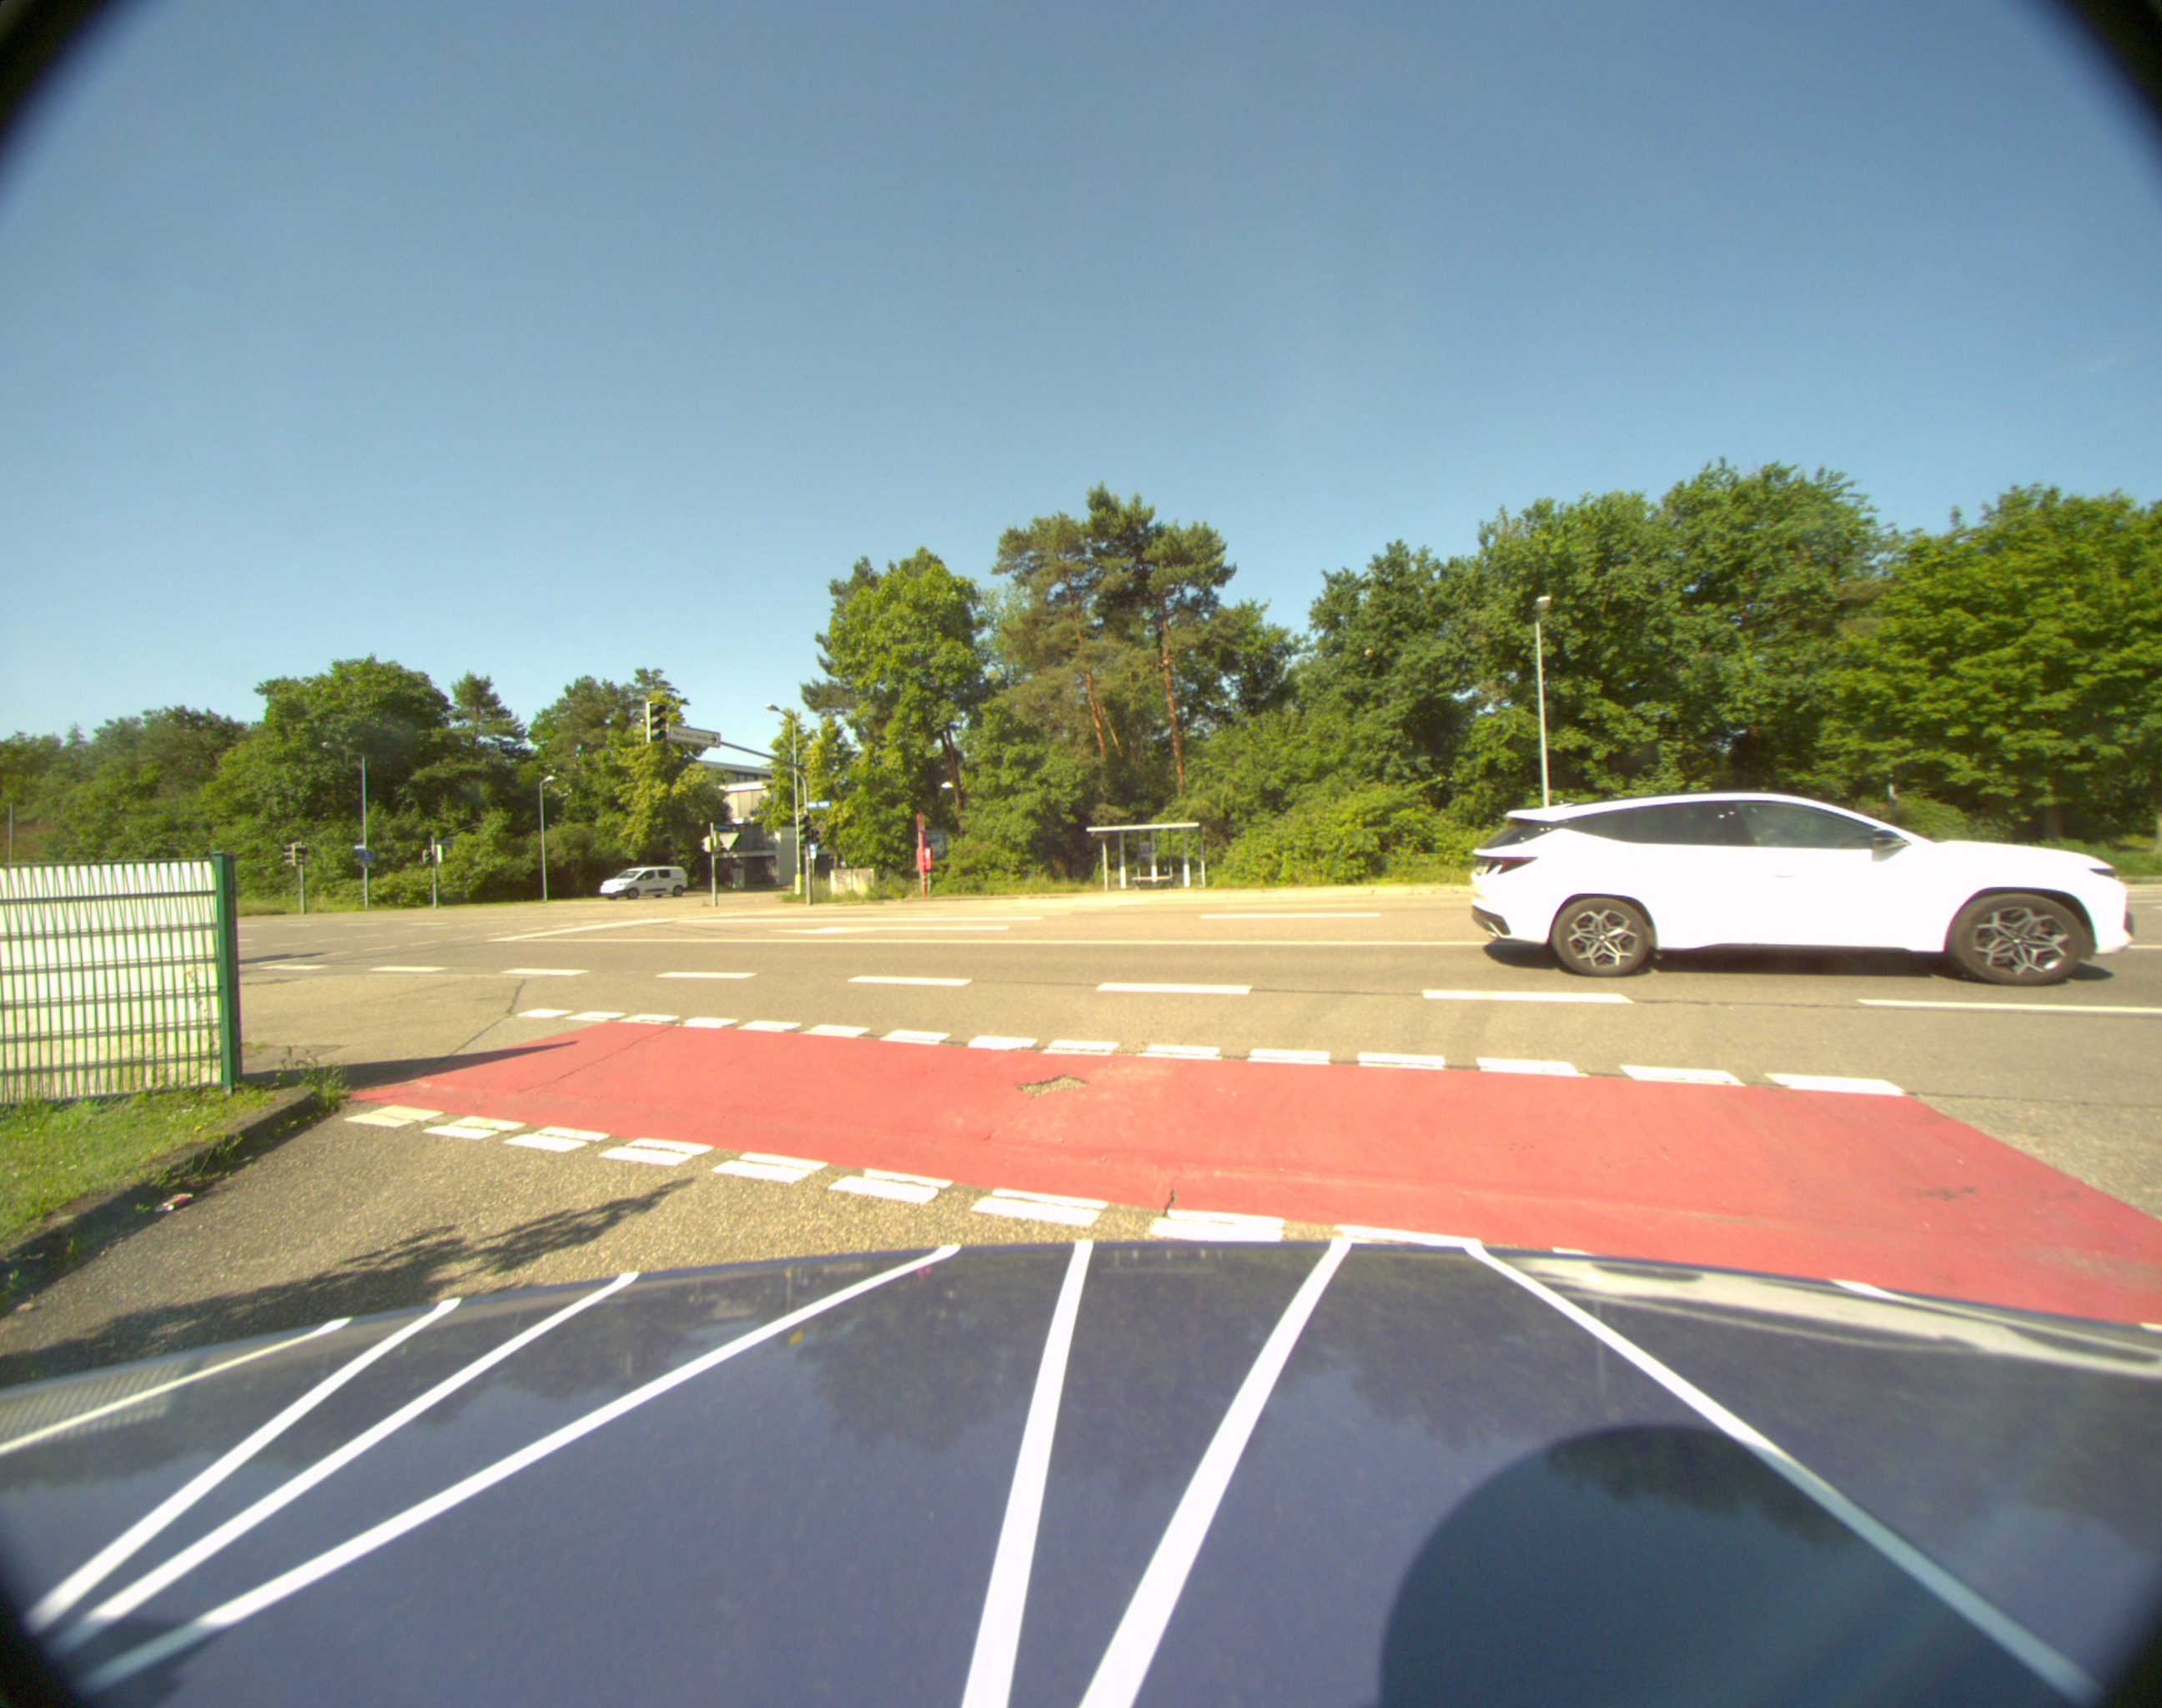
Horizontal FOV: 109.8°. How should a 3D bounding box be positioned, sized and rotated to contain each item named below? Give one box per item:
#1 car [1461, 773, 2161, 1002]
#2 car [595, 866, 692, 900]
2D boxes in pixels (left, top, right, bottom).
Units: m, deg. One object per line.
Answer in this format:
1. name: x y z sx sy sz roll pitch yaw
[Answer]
1. car: 6.023 0.280 7.015 4.298 1.639 1.816 -2 2 21
2. car: -25.028 1.605 43.633 1.848 1.767 4.669 -2 -1 21
